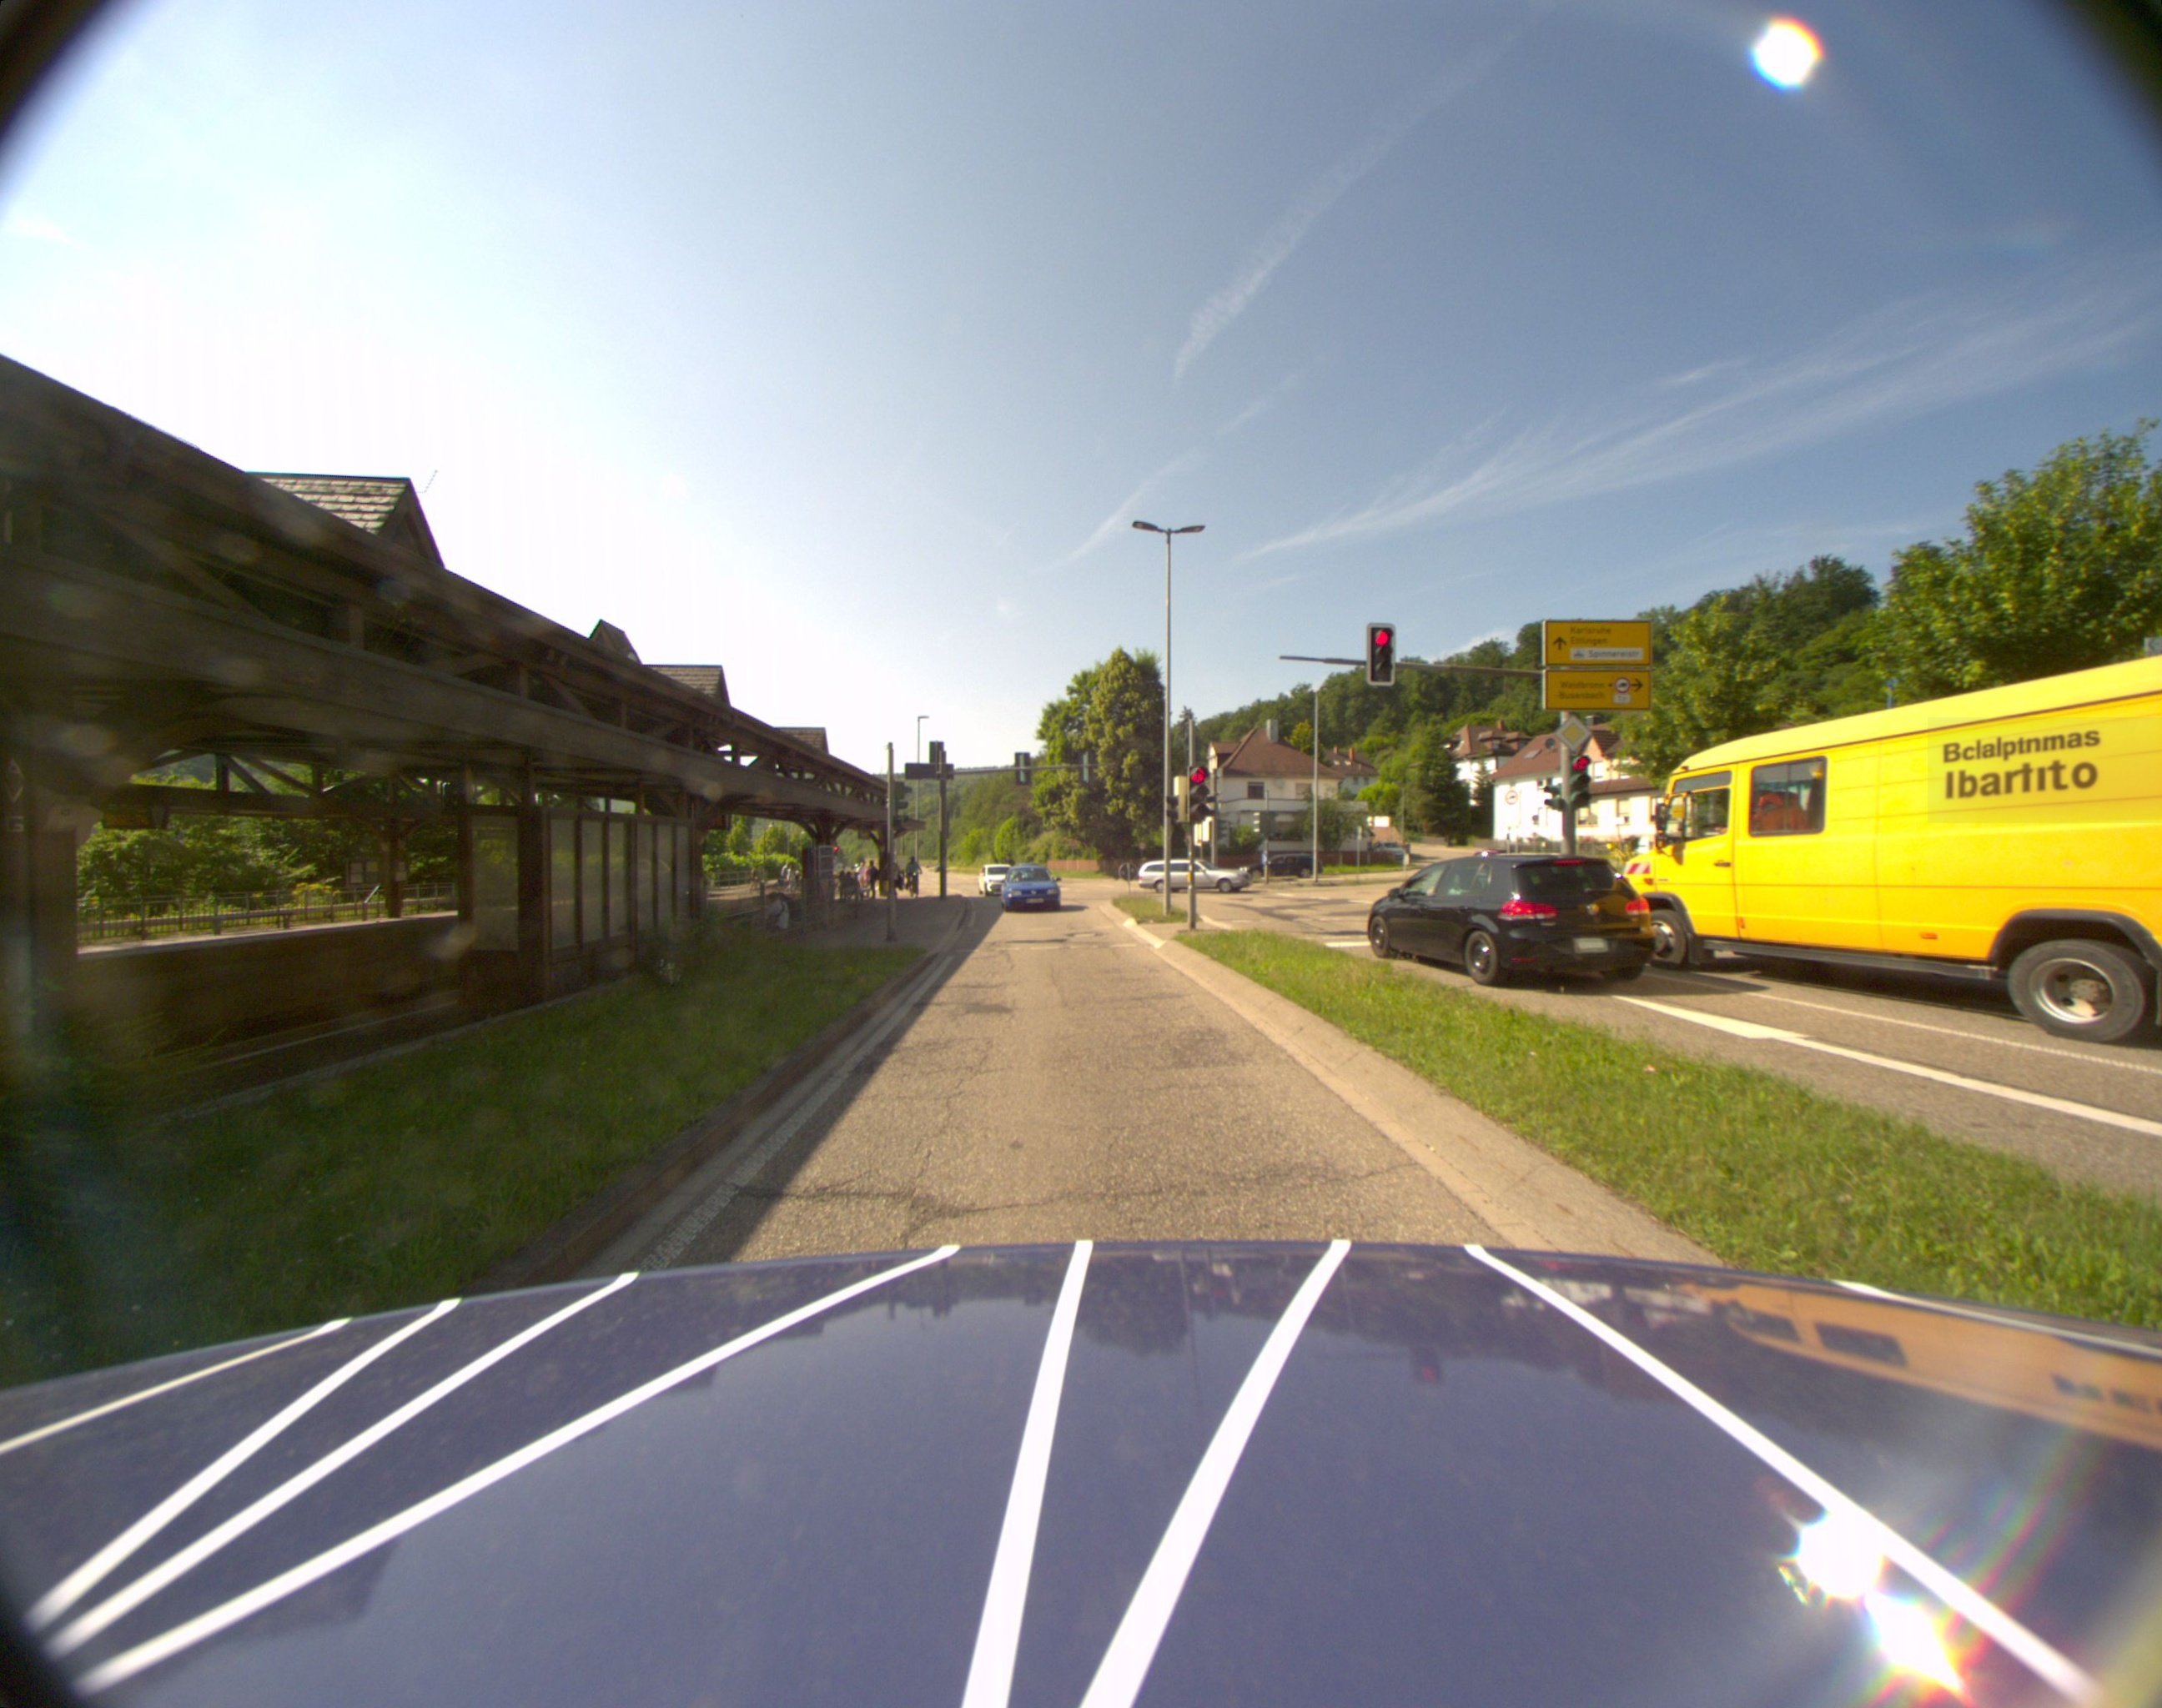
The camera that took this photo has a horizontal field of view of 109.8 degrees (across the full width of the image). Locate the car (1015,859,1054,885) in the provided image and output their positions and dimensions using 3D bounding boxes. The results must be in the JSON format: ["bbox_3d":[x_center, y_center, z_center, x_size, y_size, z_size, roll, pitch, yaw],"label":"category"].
[{"bbox_3d":[-2.962,1.075,47.675,1.981,1.495,3.983,-1,0,-9],"label":"car"}]

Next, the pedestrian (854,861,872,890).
[{"bbox_3d":[-13.430,1.323,46.890,0.868,1.674,0.822,-3,-1,-7],"label":"pedestrian"}]

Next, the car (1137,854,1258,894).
[{"bbox_3d":[5.059,0.871,33.006,4.739,1.495,1.984,-3,-1,27],"label":"car"}]

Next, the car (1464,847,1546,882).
[{"bbox_3d":[20.008,0.465,35.835,3.961,1.525,1.658,-1,-1,-32],"label":"car"}]

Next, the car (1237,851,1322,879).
[{"bbox_3d":[11.950,0.681,46.033,4.745,1.475,1.982,-3,-1,7],"label":"car"}]

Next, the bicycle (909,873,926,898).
[{"bbox_3d":[-7.368,1.402,34.232,0.604,1.049,1.812,-3,0,-10],"label":"bicycle"}]

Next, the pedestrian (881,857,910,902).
[{"bbox_3d":[-7.579,1.040,31.149,0.916,1.726,1.251,-3,-1,-6],"label":"pedestrian"}]

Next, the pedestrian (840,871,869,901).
[{"bbox_3d":[-9.076,1.268,30.447,1.010,1.153,0.947,-2,1,-13],"label":"pedestrian"}]

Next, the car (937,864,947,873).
[{"bbox_3d":[-30.643,3.145,167.127,2.000,1.739,3.998,-3,-1,-9],"label":"car"}]

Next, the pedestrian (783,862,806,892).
[{"bbox_3d":[-17.623,1.416,46.742,0.990,1.831,1.073,-2,-1,0],"label":"pedestrian"}]

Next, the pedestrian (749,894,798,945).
[{"bbox_3d":[-6.419,1.362,15.897,0.744,0.976,0.769,-3,-1,-7],"label":"pedestrian"}]

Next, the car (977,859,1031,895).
[{"bbox_3d":[-3.867,1.121,37.502,2.001,1.575,3.995,-3,0,-14],"label":"car"}]

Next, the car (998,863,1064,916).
[{"bbox_3d":[-1.706,1.069,24.474,1.866,1.474,4.299,-1,0,-7],"label":"car"}]

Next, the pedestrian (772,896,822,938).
[{"bbox_3d":[-6.476,1.420,17.373,0.847,0.869,0.807,-3,-1,-7],"label":"pedestrian"}]

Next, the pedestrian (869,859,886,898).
[{"bbox_3d":[-8.881,1.071,33.139,0.659,1.682,0.738,-1,0,-13],"label":"pedestrian"}]

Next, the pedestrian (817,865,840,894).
[{"bbox_3d":[-15.458,1.570,46.520,0.902,1.674,0.824,-3,-1,27],"label":"pedestrian"}]

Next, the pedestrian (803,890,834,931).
[{"bbox_3d":[-6.532,1.395,18.900,0.619,0.960,0.406,-3,-1,-7],"label":"pedestrian"}]

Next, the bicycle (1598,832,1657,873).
[{"bbox_3d":[18.302,-0.029,25.513,0.620,1.247,1.758,-6,-2,2],"label":"bicycle"}]

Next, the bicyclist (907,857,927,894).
[{"bbox_3d":[-7.377,0.958,34.228,0.787,1.559,0.946,-3,1,-10],"label":"bicyclist"}]

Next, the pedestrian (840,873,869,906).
[{"bbox_3d":[-8.714,1.358,29.262,0.994,1.228,0.596,-3,-1,-14],"label":"pedestrian"}]

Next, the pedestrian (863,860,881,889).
[{"bbox_3d":[-12.545,1.254,45.672,0.823,1.674,0.902,-3,-1,-24],"label":"pedestrian"}]

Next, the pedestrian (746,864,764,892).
[{"bbox_3d":[-19.622,1.448,45.741,0.905,1.674,1.123,-3,-1,-23],"label":"pedestrian"}]

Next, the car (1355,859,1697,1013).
[{"bbox_3d":[5.109,0.819,9.472,1.750,1.454,4.042,-1,0,-3],"label":"car"}]

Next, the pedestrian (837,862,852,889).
[{"bbox_3d":[-15.003,1.382,48.180,0.558,1.674,0.685,-3,-1,21],"label":"pedestrian"}]

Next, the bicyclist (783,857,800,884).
[{"bbox_3d":[-18.609,1.089,48.880,0.904,1.674,0.821,-3,-1,-19],"label":"bicyclist"}]

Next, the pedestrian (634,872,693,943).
[{"bbox_3d":[-9.477,1.196,17.284,0.863,1.538,0.922,-1,-1,-5],"label":"pedestrian"}]

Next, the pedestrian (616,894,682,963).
[{"bbox_3d":[-7.464,1.276,13.159,0.744,1.110,0.667,-3,-1,-7],"label":"pedestrian"}]

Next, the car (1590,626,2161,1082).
[{"bbox_3d":[8.231,-0.044,6.963,2.474,2.993,6.464,-3,0,-3],"label":"car"}]

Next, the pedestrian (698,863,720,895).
[{"bbox_3d":[-21.843,1.474,44.654,0.904,1.838,0.822,-3,-1,-11],"label":"pedestrian"}]

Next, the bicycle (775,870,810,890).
[{"bbox_3d":[-18.528,1.680,48.843,2.021,1.201,0.709,-3,-1,-18],"label":"bicycle"}]

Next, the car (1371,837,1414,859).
[{"bbox_3d":[25.831,-0.499,63.138,1.939,1.627,4.001,-3,-1,2],"label":"car"}]
